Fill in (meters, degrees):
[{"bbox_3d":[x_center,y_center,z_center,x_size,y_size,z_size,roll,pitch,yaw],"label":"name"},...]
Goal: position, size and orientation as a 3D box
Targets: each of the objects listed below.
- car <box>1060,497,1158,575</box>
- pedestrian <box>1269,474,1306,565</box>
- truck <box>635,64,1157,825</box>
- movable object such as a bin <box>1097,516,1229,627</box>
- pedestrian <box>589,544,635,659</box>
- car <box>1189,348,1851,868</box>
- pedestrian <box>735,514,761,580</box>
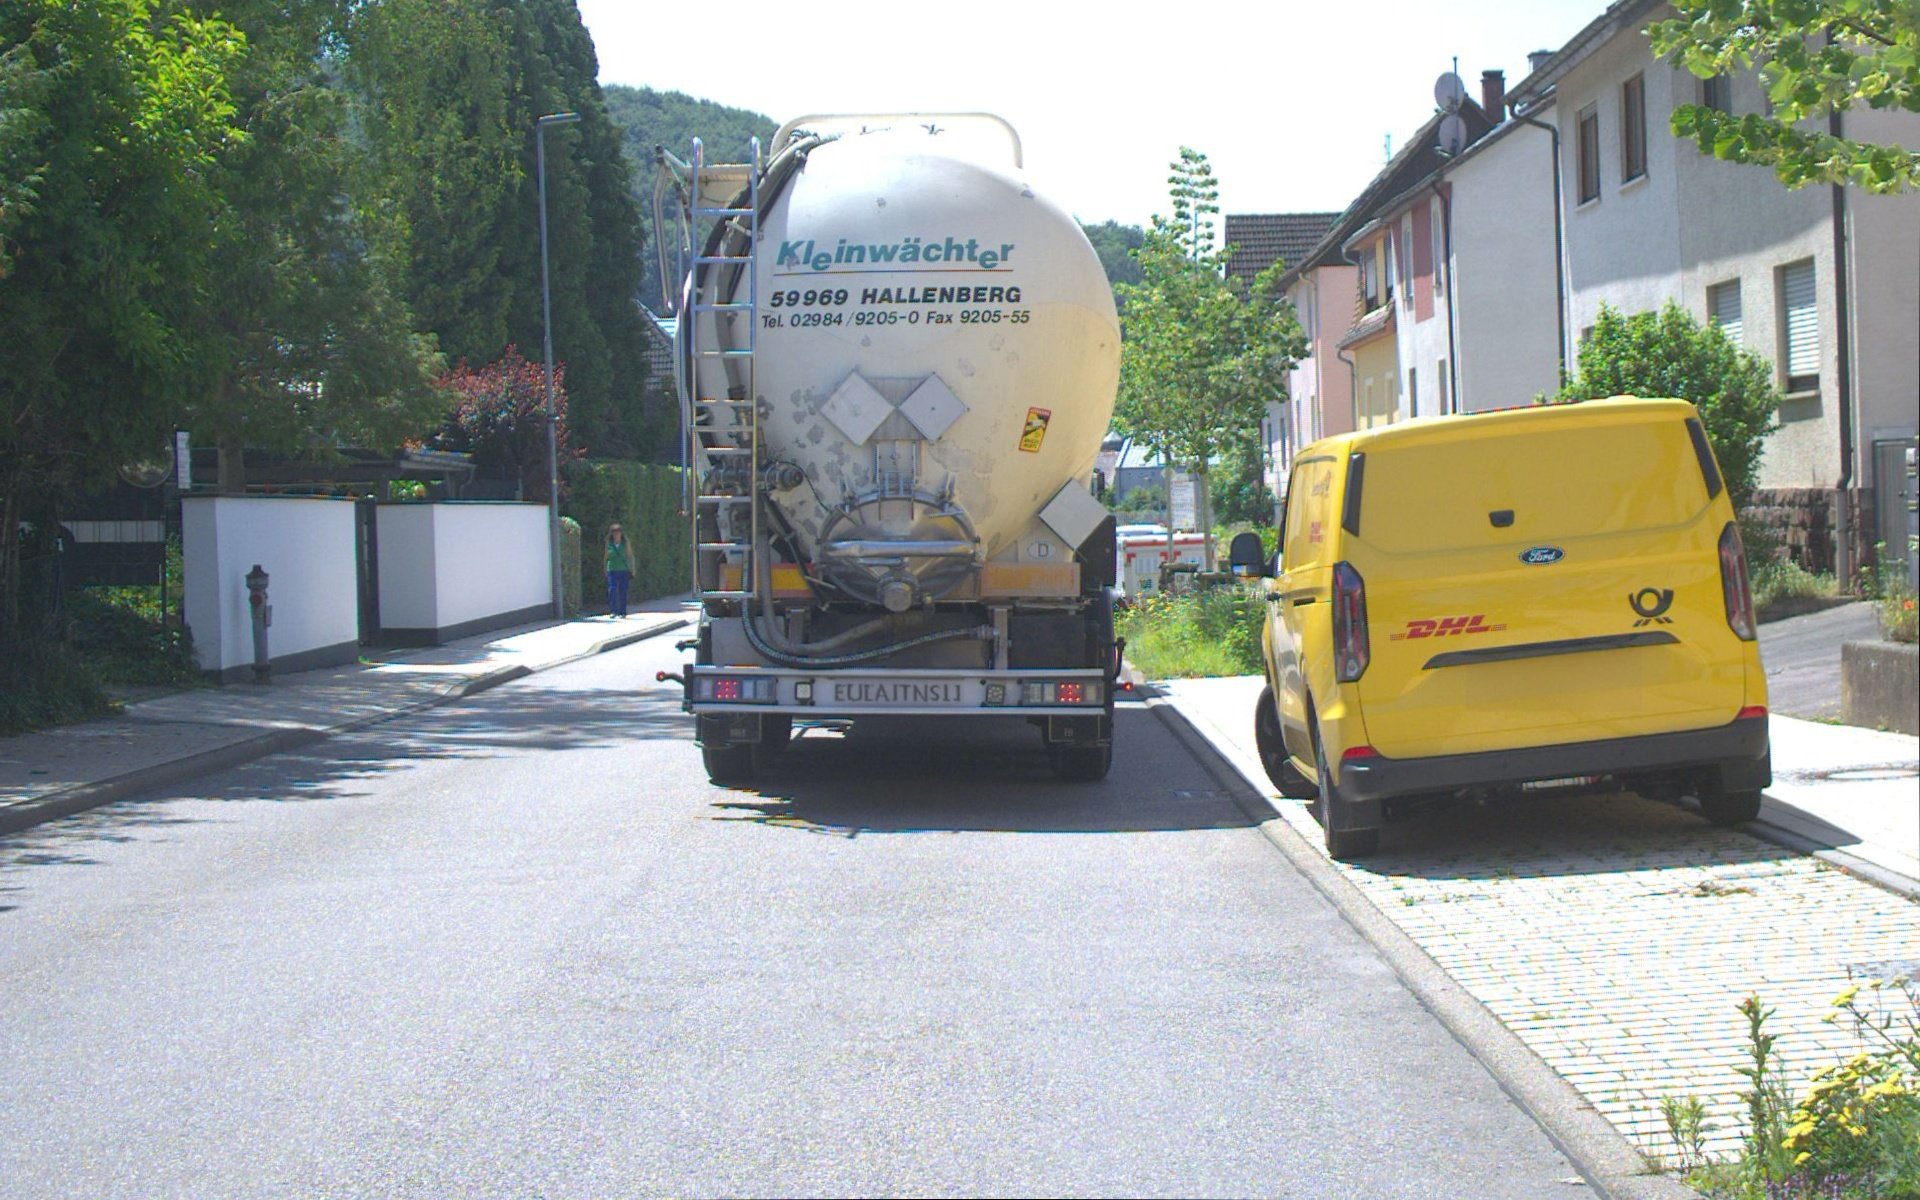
[{"bbox_3d":[3.029,-1.289,70.536,1.756,1.413,4.633,-3,0,0],"label":"car"},{"bbox_3d":[7.273,-1.787,76.424,0.746,2.007,1.033,0,0,2],"label":"pedestrian"},{"bbox_3d":[-0.354,-0.958,23.854,2.750,4.043,10.890,-1,1,0],"label":"truck"},{"bbox_3d":[2.751,-0.389,47.151,1.571,1.412,3.041,-2,0,0],"label":"movable object such as a bin"},{"bbox_3d":[-6.120,0.016,60.476,0.720,2.007,0.804,0,0,0],"label":"pedestrian"},{"bbox_3d":[2.573,0.014,17.439,2.189,2.007,5.623,-6,0,-1],"label":"car"},{"bbox_3d":[-5.817,-1.449,94.367,0.712,1.817,0.898,0,0,-3],"label":"pedestrian"}]
